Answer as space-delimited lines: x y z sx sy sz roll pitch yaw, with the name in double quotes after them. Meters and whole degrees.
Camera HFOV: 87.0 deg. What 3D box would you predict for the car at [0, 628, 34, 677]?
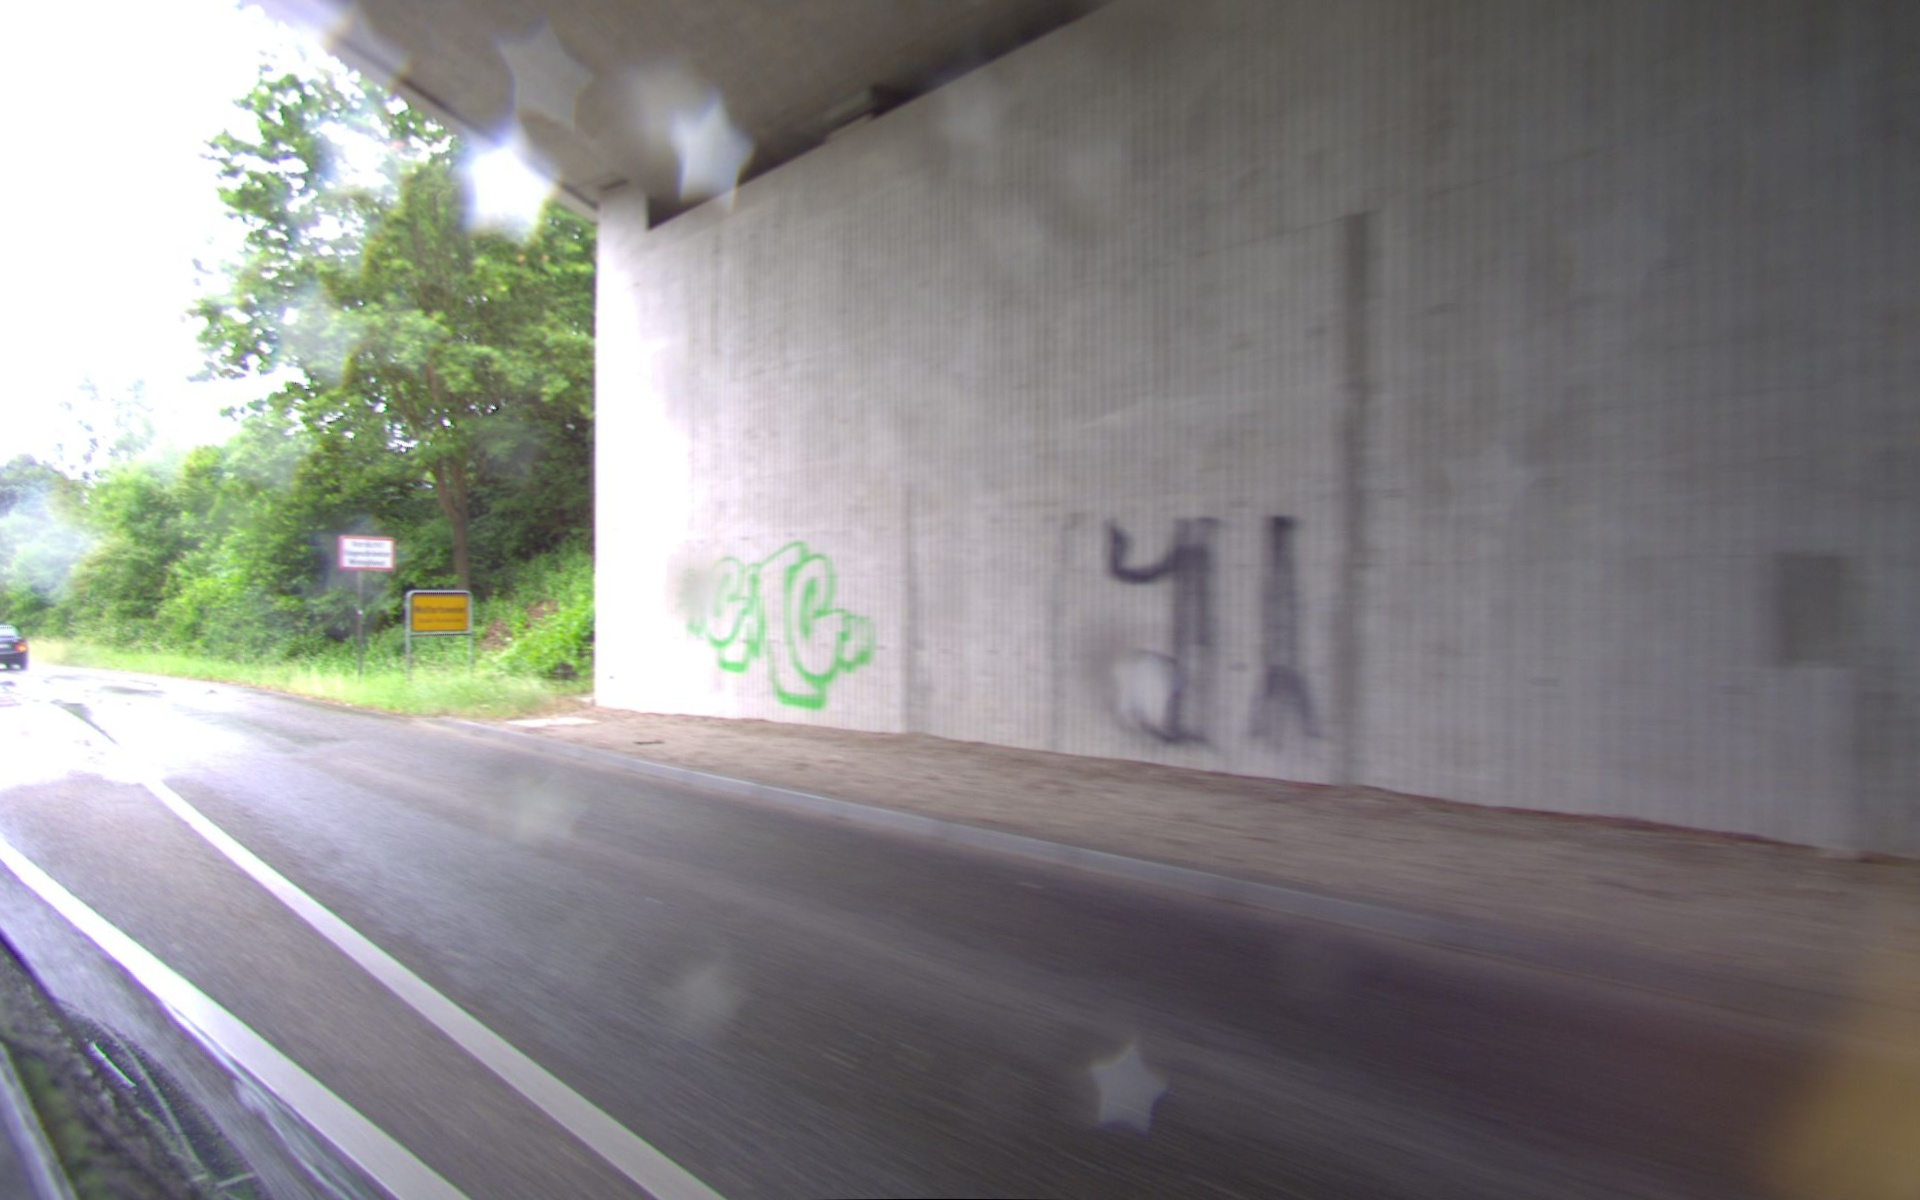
-31.460 1.683 32.734 4.068 1.498 1.674 -1 0 39 "car"
